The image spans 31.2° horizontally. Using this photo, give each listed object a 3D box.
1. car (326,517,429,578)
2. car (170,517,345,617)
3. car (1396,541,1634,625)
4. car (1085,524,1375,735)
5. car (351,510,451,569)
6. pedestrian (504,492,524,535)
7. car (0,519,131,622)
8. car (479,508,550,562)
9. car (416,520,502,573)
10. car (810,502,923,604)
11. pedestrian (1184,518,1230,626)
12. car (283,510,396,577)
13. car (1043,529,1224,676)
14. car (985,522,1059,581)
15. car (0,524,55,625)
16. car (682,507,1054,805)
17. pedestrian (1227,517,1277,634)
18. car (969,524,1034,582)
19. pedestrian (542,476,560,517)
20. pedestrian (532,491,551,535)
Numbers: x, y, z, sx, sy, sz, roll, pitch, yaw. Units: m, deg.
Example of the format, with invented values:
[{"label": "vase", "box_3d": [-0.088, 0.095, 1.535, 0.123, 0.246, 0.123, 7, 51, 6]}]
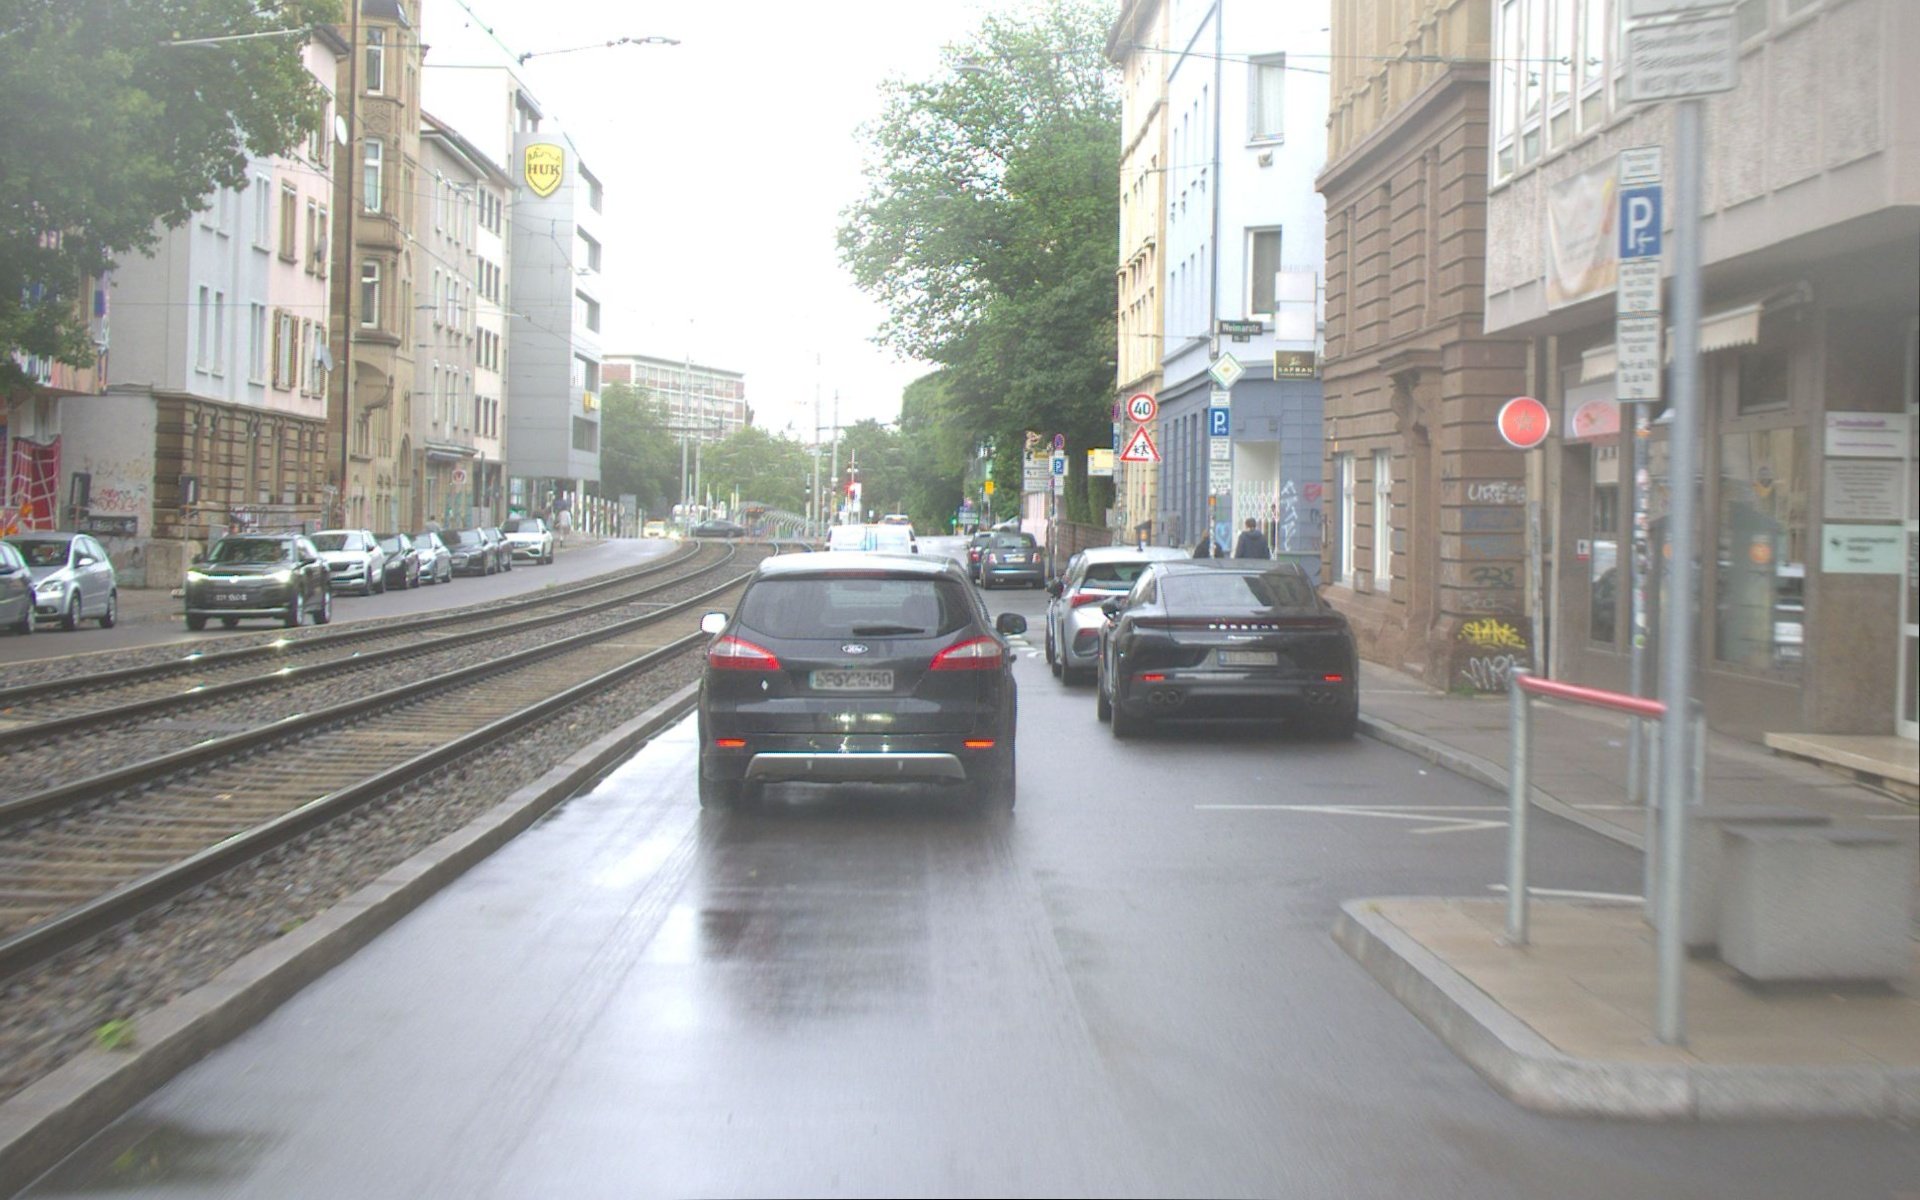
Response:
[{"label": "car", "box_3d": [-15.175, -1.383, 89.769, 1.993, 1.514, 4.209, 2, 1, -1]}, {"label": "car", "box_3d": [-11.459, -0.561, 56.355, 1.993, 1.514, 4.444, 2, 1, -1]}, {"label": "car", "box_3d": [9.871, -0.313, 61.356, 3.987, 1.425, 1.787, 0, 1, 1]}, {"label": "car", "box_3d": [2.140, 0.209, 28.502, 1.993, 1.588, 4.572, 1, 0, 0]}, {"label": "car", "box_3d": [-15.332, -1.669, 94.565, 1.993, 1.514, 4.992, 2, 1, -1]}, {"label": "pedestrian", "box_3d": [-19.227, -3.737, 148.301, 0.744, 1.847, 0.839, 1, 0, -2]}, {"label": "car", "box_3d": [-14.734, -0.505, 55.470, 1.721, 1.565, 4.220, 2, 1, -1]}, {"label": "car", "box_3d": [-15.902, -2.326, 122.900, 1.993, 1.833, 5.071, 2, 1, -2]}, {"label": "car", "box_3d": [-15.305, -1.649, 105.296, 1.993, 1.514, 4.676, 2, 1, -1]}, {"label": "car", "box_3d": [-1.697, -0.858, 63.663, 1.993, 1.810, 4.271, 1, 0, 0]}, {"label": "pedestrian", "box_3d": [4.284, -0.487, 59.690, 0.661, 1.845, 0.821, 1, 2, -2]}, {"label": "car", "box_3d": [-15.047, -1.383, 83.551, 1.993, 1.514, 4.436, 2, 1, -1]}, {"label": "car", "box_3d": [1.945, -0.018, 39.675, 1.746, 1.518, 4.355, 1, 2, -1]}, {"label": "car", "box_3d": [1.625, -1.310, 91.616, 1.738, 1.484, 4.001, 1, 2, -2]}, {"label": "car", "box_3d": [-14.733, -0.389, 50.666, 1.744, 1.464, 4.220, 0, 1, -1]}, {"label": "car", "box_3d": [-0.514, 0.290, 20.705, 1.993, 1.588, 4.271, 1, 0, 0]}, {"label": "pedestrian", "box_3d": [5.071, -0.433, 59.758, 0.736, 2.006, 0.821, 1, 2, -2]}, {"label": "car", "box_3d": [1.145, -1.331, 96.221, 1.642, 1.510, 4.039, 1, 2, -2]}, {"label": "pedestrian", "box_3d": [-18.378, -4.645, 154.504, 0.744, 1.847, 0.839, 1, 0, -2]}, {"label": "pedestrian", "box_3d": [-18.050, -3.748, 148.370, 0.744, 1.847, 0.839, 1, 0, -2]}]
